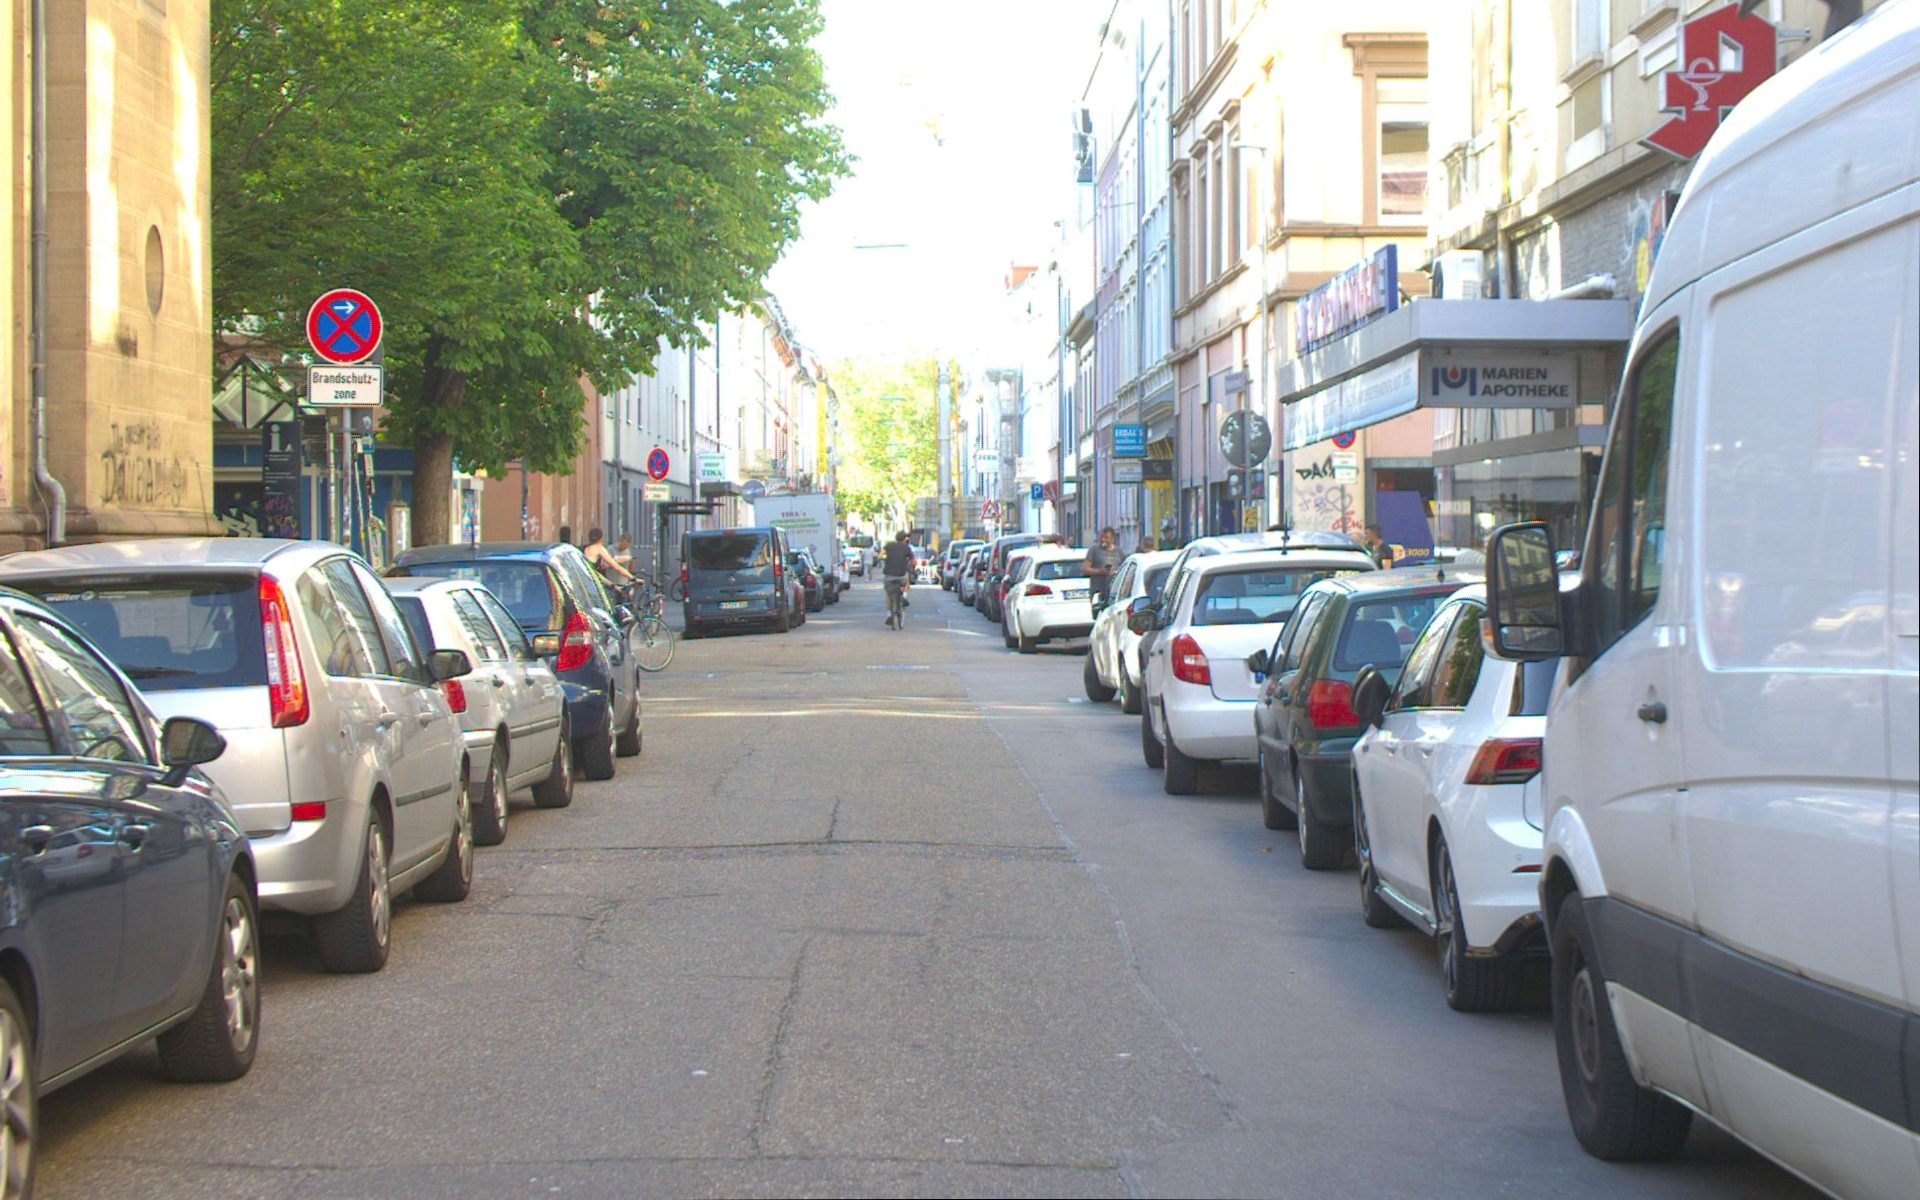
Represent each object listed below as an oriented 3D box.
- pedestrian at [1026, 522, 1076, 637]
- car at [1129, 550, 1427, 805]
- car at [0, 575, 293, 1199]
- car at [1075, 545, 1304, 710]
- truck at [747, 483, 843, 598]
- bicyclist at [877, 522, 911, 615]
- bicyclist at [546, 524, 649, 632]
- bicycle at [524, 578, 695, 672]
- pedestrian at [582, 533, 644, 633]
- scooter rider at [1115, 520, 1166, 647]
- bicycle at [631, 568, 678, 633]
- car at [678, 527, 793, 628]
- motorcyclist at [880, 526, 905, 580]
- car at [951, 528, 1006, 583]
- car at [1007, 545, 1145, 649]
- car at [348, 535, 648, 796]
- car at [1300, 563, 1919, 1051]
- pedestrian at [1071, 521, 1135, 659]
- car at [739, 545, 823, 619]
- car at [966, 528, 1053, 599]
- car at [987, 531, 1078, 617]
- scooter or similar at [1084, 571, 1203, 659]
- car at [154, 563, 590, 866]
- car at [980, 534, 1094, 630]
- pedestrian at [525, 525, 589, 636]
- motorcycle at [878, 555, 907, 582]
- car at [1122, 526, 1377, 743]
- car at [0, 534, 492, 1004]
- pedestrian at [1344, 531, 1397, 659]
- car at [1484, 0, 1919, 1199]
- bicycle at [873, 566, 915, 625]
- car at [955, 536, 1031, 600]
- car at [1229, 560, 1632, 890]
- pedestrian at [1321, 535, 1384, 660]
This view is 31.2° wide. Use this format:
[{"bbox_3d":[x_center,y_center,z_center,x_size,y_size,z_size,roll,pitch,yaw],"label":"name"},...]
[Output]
[{"bbox_3d":[1.473,-0.334,55.750,0.783,1.837,1.012,0,1,0],"label":"pedestrian"},{"bbox_3d":[2.017,0.436,22.738,1.603,1.499,4.000,1,1,0],"label":"car"},{"bbox_3d":[-2.836,0.709,8.467,1.615,1.447,3.950,-2,1,-1],"label":"car"},{"bbox_3d":[2.143,0.217,33.010,1.716,1.483,3.870,0,1,-3],"label":"car"},{"bbox_3d":[-4.824,-1.756,101.475,2.532,3.270,6.995,0,1,0],"label":"truck"},{"bbox_3d":[-1.195,-0.576,62.305,0.605,1.682,0.885,0,1,-1],"label":"bicyclist"},{"bbox_3d":[-4.432,-0.274,42.006,1.059,1.302,0.757,-1,1,-26],"label":"bicyclist"},{"bbox_3d":[-4.289,0.291,42.088,1.941,1.106,0.768,-1,1,-26],"label":"bicycle"},{"bbox_3d":[-5.714,-0.287,56.696,0.929,1.631,0.806,0,1,0],"label":"pedestrian"},{"bbox_3d":[2.360,-0.215,44.832,0.650,1.637,0.683,0,1,4],"label":"scooter rider"},{"bbox_3d":[-5.364,-0.004,60.248,0.644,1.105,1.605,0,1,-11],"label":"bicycle"},{"bbox_3d":[-4.078,-0.437,63.030,1.875,1.790,4.000,0,1,0],"label":"car"},{"bbox_3d":[-2.562,-1.784,129.867,0.902,2.007,1.190,0,1,-3],"label":"motorcyclist"},{"bbox_3d":[0.683,-1.655,127.866,1.993,2.007,4.000,0,1,0],"label":"car"},{"bbox_3d":[1.691,-0.076,51.189,1.897,1.483,3.869,0,1,0],"label":"car"},{"bbox_3d":[-3.142,0.390,24.001,1.600,1.608,3.808,-3,1,-1],"label":"car"},{"bbox_3d":[2.432,0.633,13.019,1.779,1.481,4.360,1,1,-1],"label":"car"},{"bbox_3d":[1.917,-0.143,46.152,0.681,1.837,0.695,0,1,-12],"label":"pedestrian"},{"bbox_3d":[-4.397,-0.464,84.851,1.875,1.790,4.000,0,1,0],"label":"car"},{"bbox_3d":[1.205,-0.915,85.231,1.993,1.626,4.000,2,1,-1],"label":"car"},{"bbox_3d":[1.491,-0.572,71.754,1.769,1.735,4.000,0,1,0],"label":"car"},{"bbox_3d":[2.392,0.191,44.831,1.530,1.135,0.601,0,1,5],"label":"scooter or similar"},{"bbox_3d":[-3.138,0.554,19.054,1.570,1.393,3.808,-4,1,2],"label":"car"},{"bbox_3d":[1.343,-0.348,61.402,1.897,1.645,4.000,0,1,0],"label":"car"},{"bbox_3d":[-6.518,-0.326,55.627,0.929,1.780,0.806,0,1,0],"label":"pedestrian"},{"bbox_3d":[-2.546,-1.188,129.542,1.042,0.977,2.825,0,1,-3],"label":"motorcycle"},{"bbox_3d":[2.297,0.227,28.156,1.716,1.640,4.000,0,1,0],"label":"car"},{"bbox_3d":[-2.912,0.539,13.531,1.672,1.553,4.000,-1,1,-2],"label":"car"},{"bbox_3d":[5.276,-0.069,44.178,0.456,1.637,0.502,-1,1,-41],"label":"pedestrian"},{"bbox_3d":[2.550,0.118,6.722,2.068,2.602,5.888,0,1,-1],"label":"car"},{"bbox_3d":[-1.193,-0.088,62.326,0.739,1.040,1.859,0,1,0],"label":"bicycle"},{"bbox_3d":[0.889,-0.909,96.062,1.993,1.680,4.000,2,1,-1],"label":"car"},{"bbox_3d":[2.341,0.562,17.893,1.569,1.490,3.653,1,1,0],"label":"car"},{"bbox_3d":[5.157,-0.040,45.198,0.542,1.637,0.607,-1,1,-41],"label":"pedestrian"}]
